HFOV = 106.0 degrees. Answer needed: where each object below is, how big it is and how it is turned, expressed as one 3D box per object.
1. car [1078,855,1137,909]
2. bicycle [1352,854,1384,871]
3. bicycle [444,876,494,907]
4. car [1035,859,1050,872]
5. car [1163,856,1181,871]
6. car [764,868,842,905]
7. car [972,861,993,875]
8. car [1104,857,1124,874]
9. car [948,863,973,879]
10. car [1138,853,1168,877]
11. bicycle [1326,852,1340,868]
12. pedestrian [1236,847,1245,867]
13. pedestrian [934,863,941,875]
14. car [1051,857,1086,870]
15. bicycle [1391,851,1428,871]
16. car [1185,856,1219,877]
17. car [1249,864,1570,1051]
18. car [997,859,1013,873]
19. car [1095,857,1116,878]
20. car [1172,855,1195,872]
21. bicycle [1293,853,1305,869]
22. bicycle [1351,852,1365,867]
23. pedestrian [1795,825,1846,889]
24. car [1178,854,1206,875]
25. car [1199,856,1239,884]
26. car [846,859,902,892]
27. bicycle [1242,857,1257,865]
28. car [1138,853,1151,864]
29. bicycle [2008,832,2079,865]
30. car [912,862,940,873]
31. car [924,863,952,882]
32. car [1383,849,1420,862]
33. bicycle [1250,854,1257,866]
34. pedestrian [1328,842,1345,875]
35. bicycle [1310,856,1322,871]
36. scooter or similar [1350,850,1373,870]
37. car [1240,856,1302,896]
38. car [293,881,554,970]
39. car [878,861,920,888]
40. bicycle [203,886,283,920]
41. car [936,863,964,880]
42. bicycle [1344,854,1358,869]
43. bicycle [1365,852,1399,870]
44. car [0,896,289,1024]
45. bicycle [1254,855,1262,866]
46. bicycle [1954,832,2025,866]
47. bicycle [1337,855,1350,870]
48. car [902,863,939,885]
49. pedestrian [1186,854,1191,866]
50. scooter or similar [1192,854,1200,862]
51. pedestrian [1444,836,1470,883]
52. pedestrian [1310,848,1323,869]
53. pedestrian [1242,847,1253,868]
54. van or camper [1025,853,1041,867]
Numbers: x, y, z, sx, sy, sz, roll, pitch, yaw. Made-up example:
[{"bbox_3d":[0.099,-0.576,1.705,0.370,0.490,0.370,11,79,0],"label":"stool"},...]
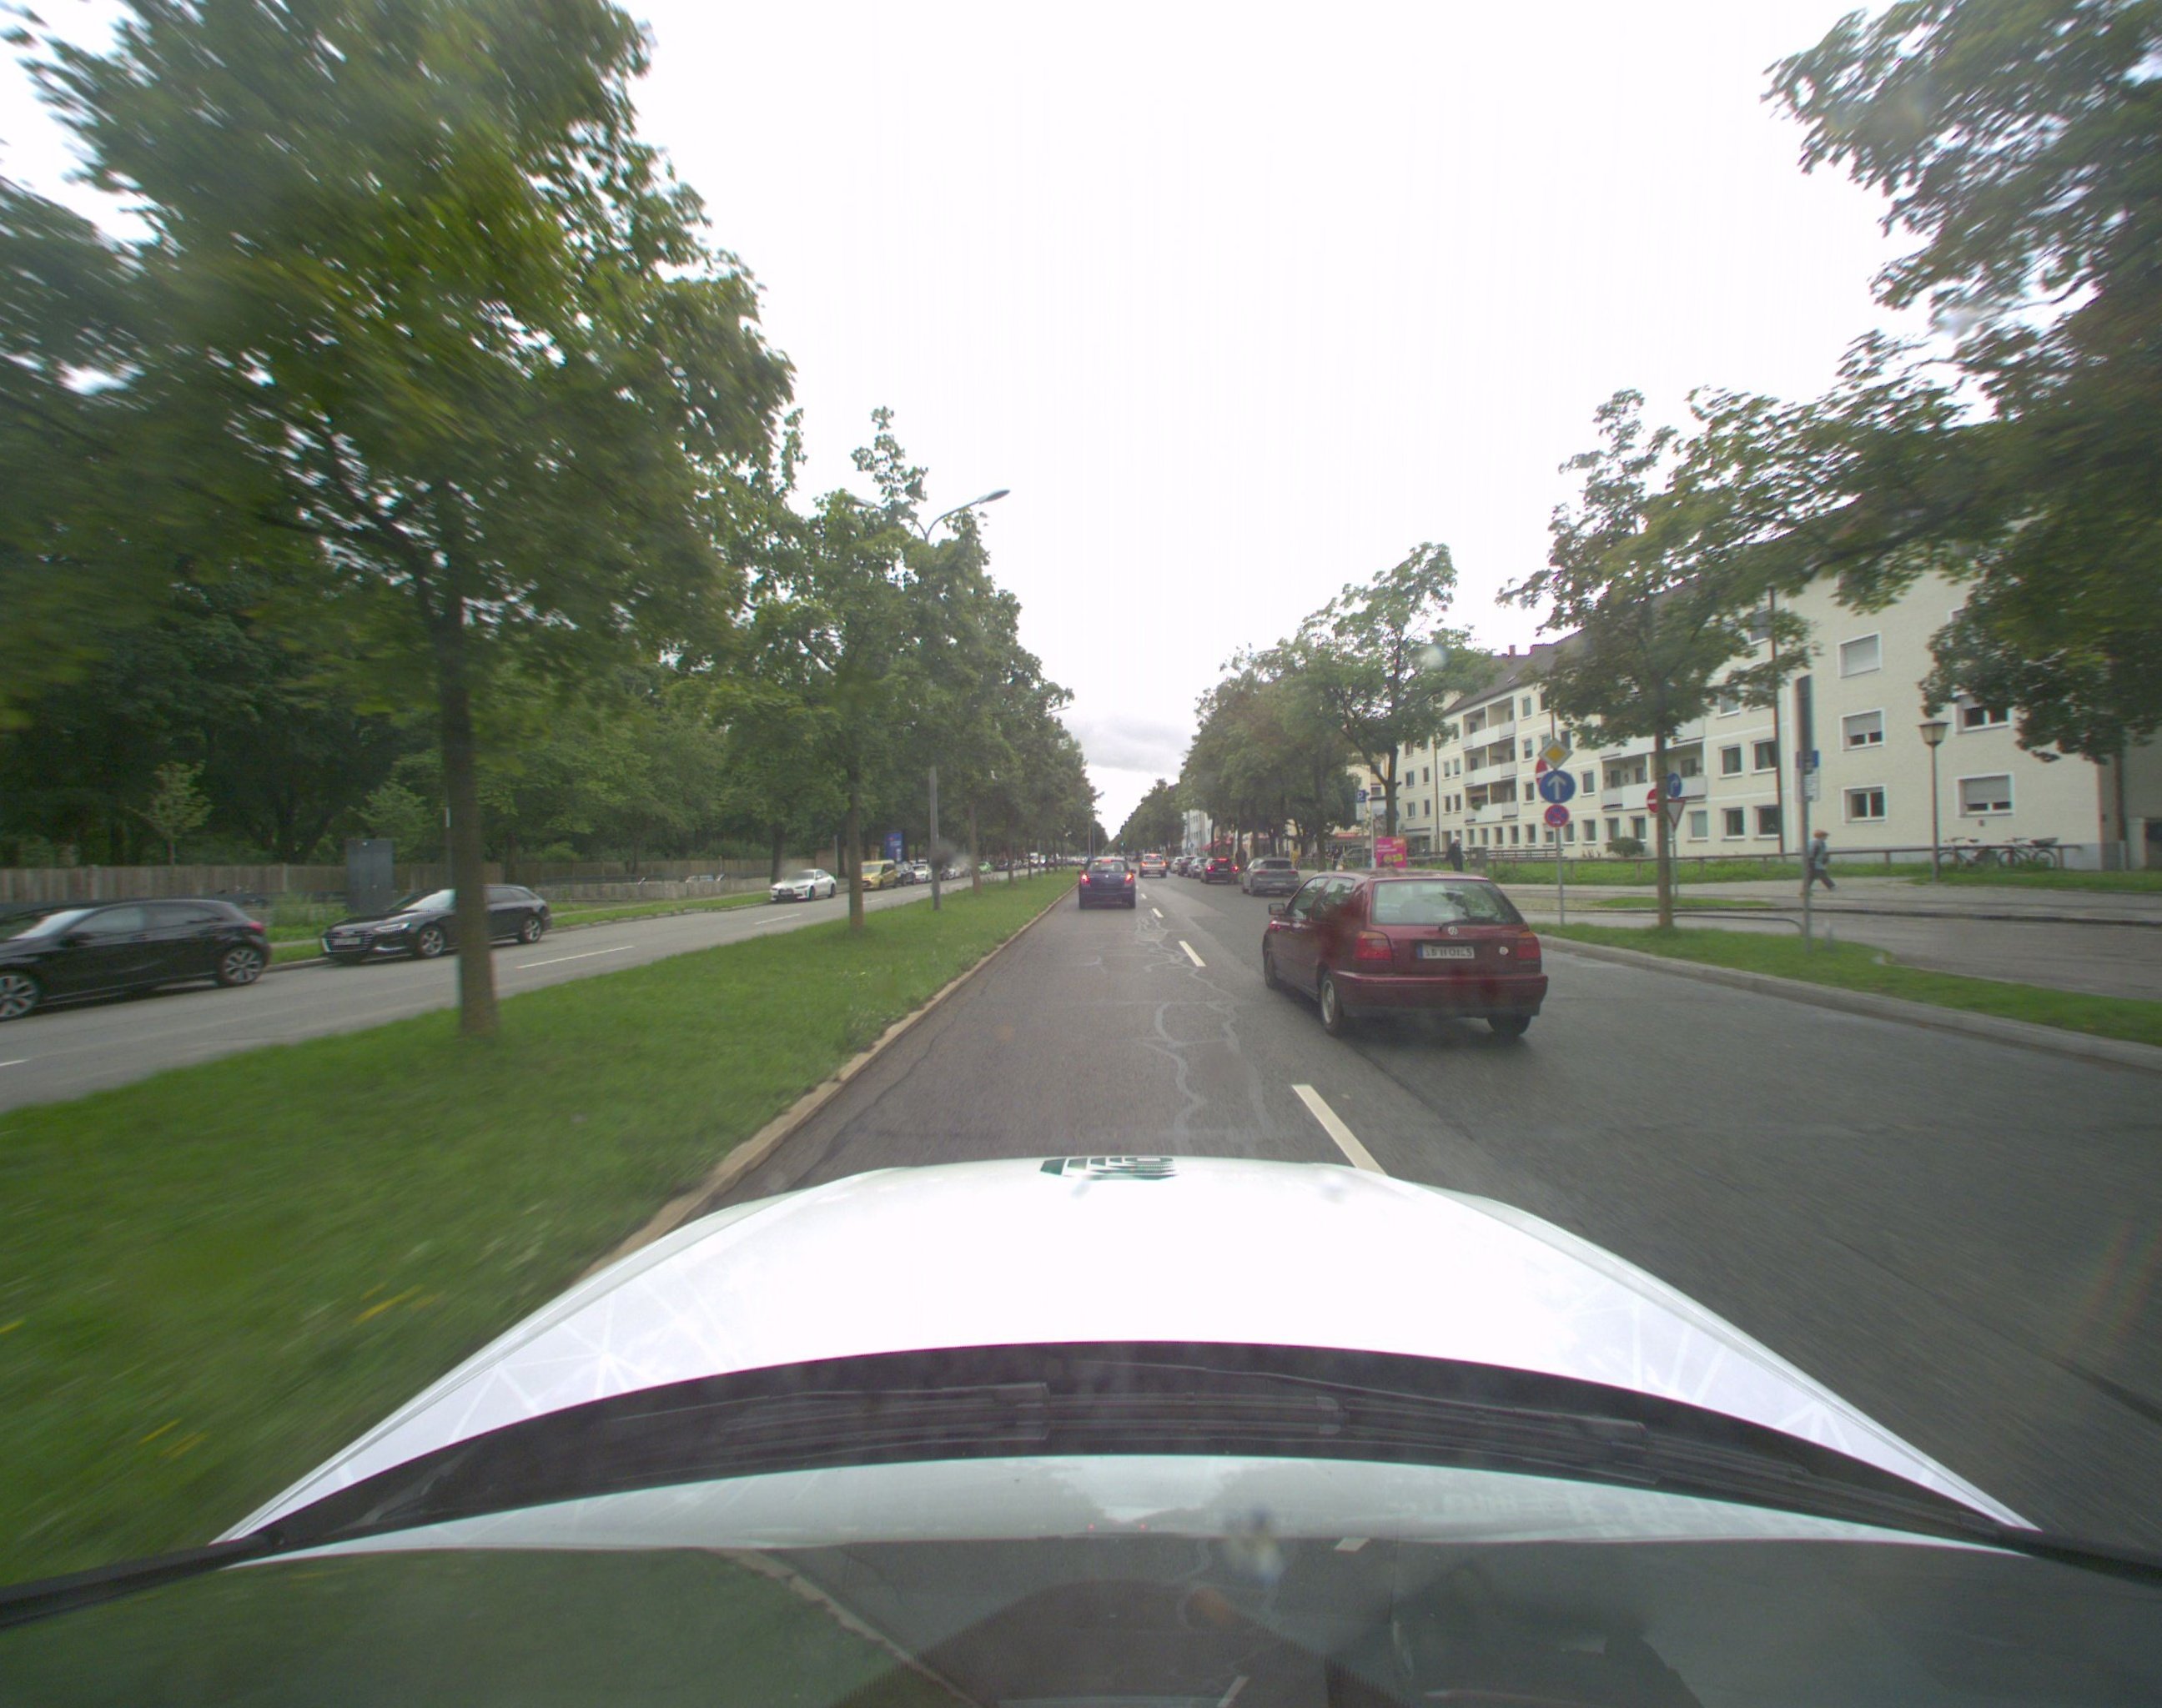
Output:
[{"bbox_3d":[0.798,0.811,25.185,1.676,1.502,3.919,-1,0,1],"label":"car"},{"bbox_3d":[18.341,0.551,52.126,1.872,1.028,0.432,-2,-1,-2],"label":"bicycle"},{"bbox_3d":[-23.017,1.396,30.674,0.429,1.100,1.827,-1,0,3],"label":"bicycle"},{"bbox_3d":[-5.951,1.761,126.056,1.793,1.934,4.995,-3,-1,1],"label":"car"},{"bbox_3d":[9.176,0.984,82.333,1.611,1.465,3.676,0,-1,2],"label":"car"},{"bbox_3d":[-13.168,1.501,38.888,1.850,1.472,4.876,-3,0,2],"label":"car"},{"bbox_3d":[-11.126,1.615,92.610,1.540,1.409,3.884,-3,0,5],"label":"car"},{"bbox_3d":[3.016,1.021,74.478,1.675,1.463,3.736,-1,0,2],"label":"car"},{"bbox_3d":[-11.622,1.586,78.491,1.584,1.397,3.634,-3,0,4],"label":"car"},{"bbox_3d":[5.135,0.771,58.686,1.859,1.661,4.408,0,0,1],"label":"car"},{"bbox_3d":[17.965,0.436,58.041,0.429,1.101,1.885,-2,0,3],"label":"bicycle"},{"bbox_3d":[15.134,0.289,77.366,0.586,1.890,0.902,-2,-1,1],"label":"pedestrian"},{"bbox_3d":[-18.491,1.877,104.747,0.724,1.534,0.721,-1,-1,2],"label":"pedestrian"},{"bbox_3d":[-1.538,1.105,98.386,4.114,1.468,1.837,-1,0,-4],"label":"car"},{"bbox_3d":[18.261,0.378,45.325,1.874,1.028,0.432,-2,-1,-4],"label":"bicycle"},{"bbox_3d":[8.228,0.799,55.662,1.631,1.386,4.242,0,0,-1],"label":"car"},{"bbox_3d":[2.888,0.803,8.110,1.676,1.384,3.919,0,0,1],"label":"car"},{"bbox_3d":[-10.266,1.595,109.992,1.710,1.741,3.880,0,-1,1],"label":"car"},{"bbox_3d":[1.743,0.942,57.968,1.439,1.483,3.107,-1,0,1],"label":"car"},{"bbox_3d":[9.032,0.817,71.985,1.676,1.465,4.138,1,0,1],"label":"car"},{"bbox_3d":[15.733,0.504,58.839,0.429,1.133,1.885,-2,0,3],"label":"bicycle"},{"bbox_3d":[19.687,0.379,57.917,0.429,1.028,1.885,-2,0,3],"label":"bicycle"},{"bbox_3d":[18.468,0.072,20.347,0.582,1.574,0.774,0,-1,-30],"label":"pedestrian"},{"bbox_3d":[8.368,0.750,61.890,1.710,1.533,4.278,0,0,2],"label":"car"},{"bbox_3d":[7.643,0.845,45.265,1.743,1.465,4.179,0,0,3],"label":"car"},{"bbox_3d":[-12.514,1.283,49.533,1.807,1.783,4.821,-3,0,3],"label":"car"},{"bbox_3d":[20.871,0.856,100.892,1.841,0.957,0.557,0,-1,0],"label":"bicycle"},{"bbox_3d":[10.595,0.705,135.815,1.859,1.682,4.224,-2,0,0],"label":"car"},{"bbox_3d":[29.657,-0.165,25.094,1.687,0.971,0.455,-2,0,-2],"label":"bicycle"},{"bbox_3d":[-23.333,2.019,122.453,3.910,1.718,1.670,0,-1,-4],"label":"car"},{"bbox_3d":[-11.805,1.496,67.502,1.608,1.417,3.897,-3,0,0],"label":"car"},{"bbox_3d":[37.927,0.127,96.421,3.537,1.417,1.871,-2,0,0],"label":"car"},{"bbox_3d":[16.834,0.609,79.475,0.387,1.105,1.855,-1,-1,3],"label":"bicycle"},{"bbox_3d":[13.863,0.248,44.167,0.636,1.749,0.851,-3,0,8],"label":"pedestrian"},{"bbox_3d":[16.821,0.675,58.310,0.429,1.028,1.885,-2,0,3],"label":"bicycle"},{"bbox_3d":[17.650,0.406,51.252,0.360,1.200,1.374,-2,-1,-40],"label":"scooter or similar"},{"bbox_3d":[7.273,0.807,31.577,1.675,1.465,4.118,0,0,3],"label":"car"},{"bbox_3d":[-13.745,1.414,17.456,1.793,1.425,4.433,-3,0,2],"label":"car"},{"bbox_3d":[-12.487,1.368,56.158,1.730,1.646,4.257,-3,0,2],"label":"car"},{"bbox_3d":[-23.529,1.369,22.882,1.813,0.930,0.433,-1,-1,1],"label":"bicycle"},{"bbox_3d":[-11.791,1.559,73.432,1.601,1.444,4.281,-3,0,2],"label":"car"},{"bbox_3d":[19.209,0.492,57.899,0.429,1.028,1.885,-2,0,3],"label":"bicycle"},{"bbox_3d":[18.368,0.444,49.696,1.872,1.028,0.432,-2,-1,-2],"label":"bicycle"},{"bbox_3d":[-14.156,1.442,11.421,1.793,1.384,4.240,-3,0,2],"label":"car"},{"bbox_3d":[16.760,0.608,77.168,0.380,1.103,1.885,-1,-1,3],"label":"bicycle"},{"bbox_3d":[27.880,-0.143,24.995,1.687,0.971,0.455,-2,0,-2],"label":"bicycle"},{"bbox_3d":[18.666,0.596,57.926,0.429,1.028,1.885,-2,0,3],"label":"bicycle"},{"bbox_3d":[-12.224,1.489,62.312,1.756,1.449,4.534,-3,0,2],"label":"car"},{"bbox_3d":[17.848,0.991,135.255,0.791,2.014,1.007,-1,0,2],"label":"pedestrian"},{"bbox_3d":[19.758,0.665,139.572,1.028,1.307,2.757,-2,0,3],"label":"scooter or similar"},{"bbox_3d":[13.956,0.195,30.228,0.642,1.730,0.596,0,-1,-24],"label":"pedestrian"},{"bbox_3d":[19.916,0.381,68.982,0.835,1.681,0.835,-2,-1,1],"label":"pedestrian"},{"bbox_3d":[15.816,0.342,77.346,0.727,1.890,0.919,-2,-1,1],"label":"pedestrian"},{"bbox_3d":[-8.910,1.155,151.406,2.108,2.482,7.454,-1,-1,3],"label":"van or camper"}]
